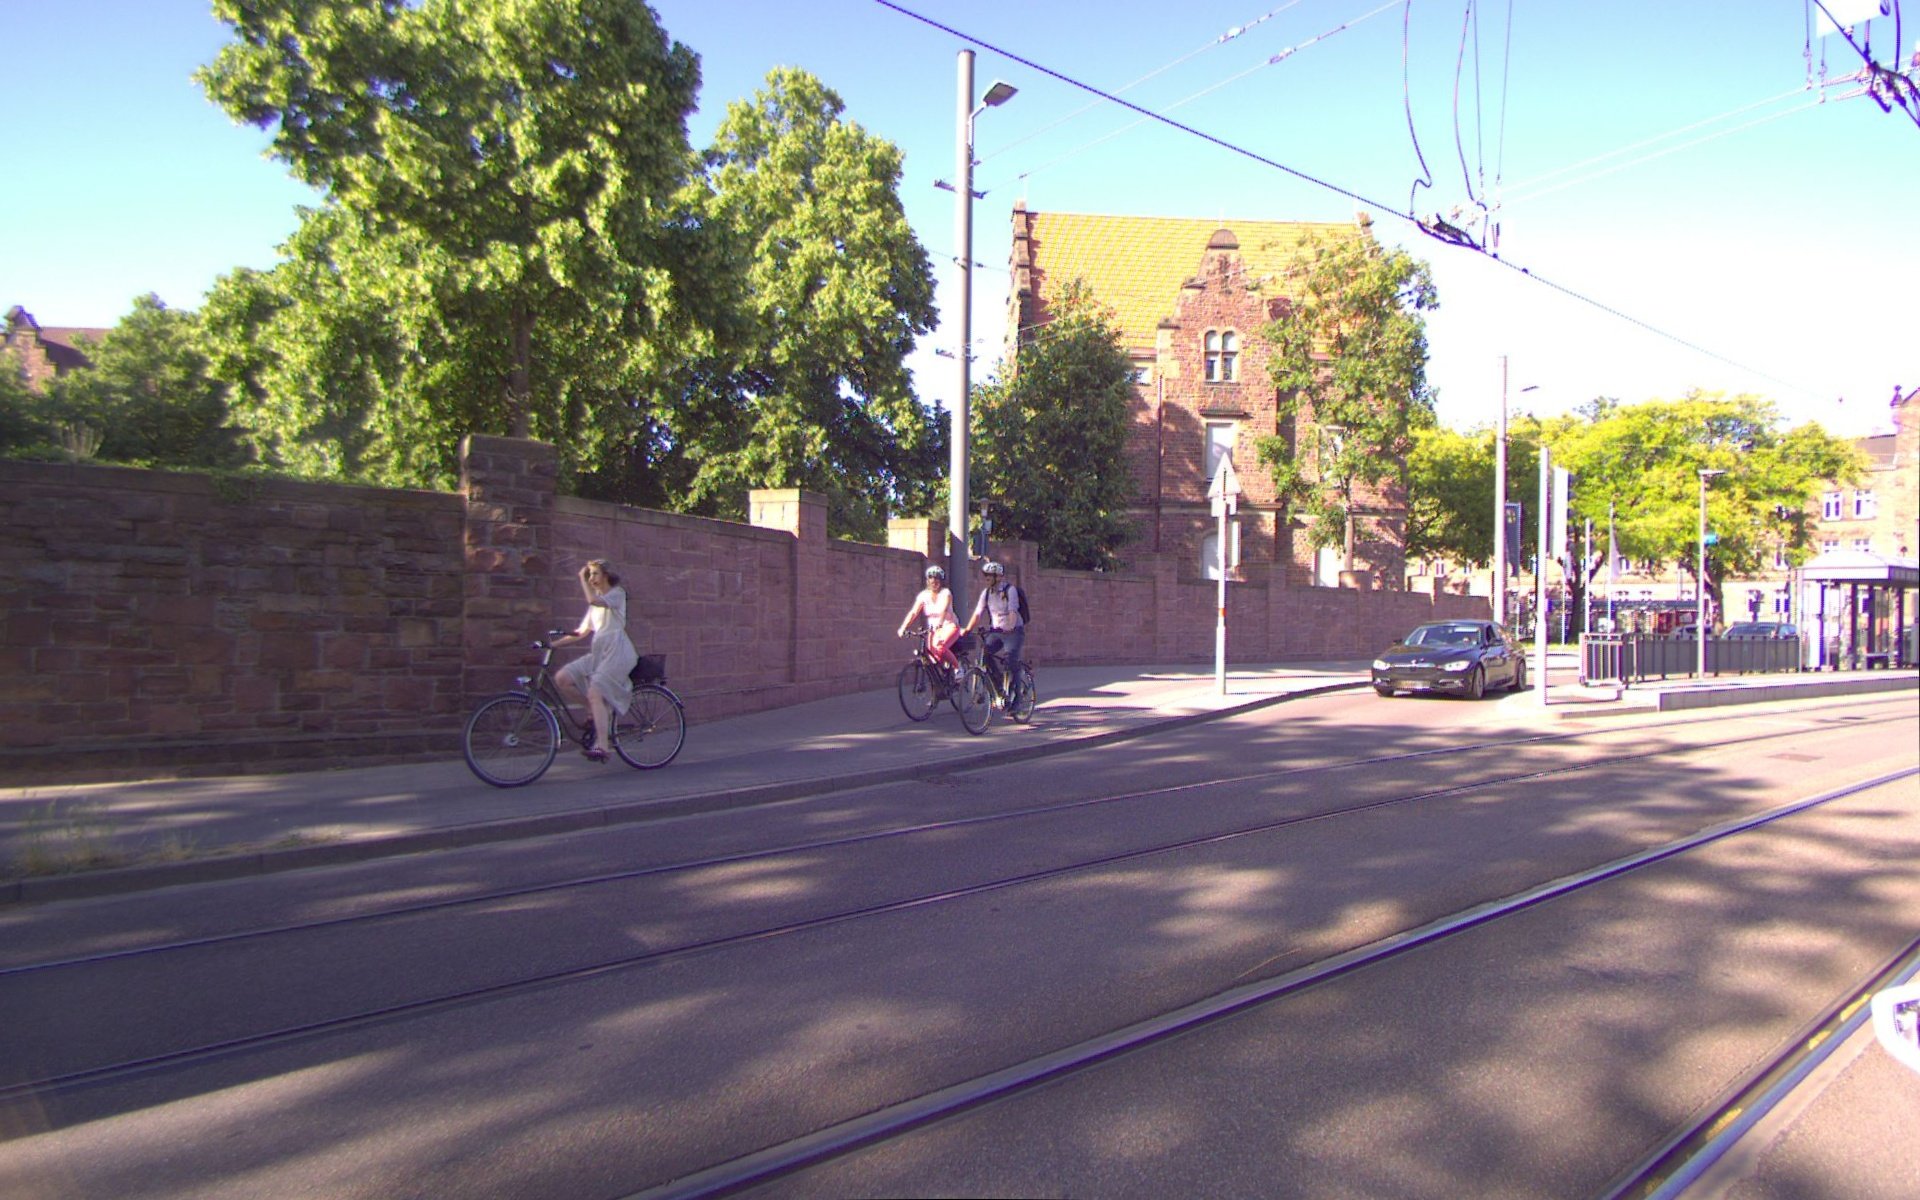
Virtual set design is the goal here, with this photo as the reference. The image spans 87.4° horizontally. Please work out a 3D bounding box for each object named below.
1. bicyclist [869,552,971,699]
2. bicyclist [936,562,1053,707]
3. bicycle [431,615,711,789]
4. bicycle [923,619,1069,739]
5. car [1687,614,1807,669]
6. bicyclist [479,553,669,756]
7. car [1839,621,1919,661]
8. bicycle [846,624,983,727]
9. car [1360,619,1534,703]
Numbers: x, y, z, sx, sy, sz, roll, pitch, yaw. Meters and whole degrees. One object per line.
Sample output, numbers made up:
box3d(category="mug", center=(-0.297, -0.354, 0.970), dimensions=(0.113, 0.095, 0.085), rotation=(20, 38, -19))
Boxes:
box3d(category="bicyclist", center=(-0.470, 0.295, 12.256), dimensions=(0.641, 1.697, 1.230), rotation=(2, 1, 31))
box3d(category="bicyclist", center=(0.421, 0.378, 11.604), dimensions=(0.750, 1.557, 1.345), rotation=(1, 0, 32))
box3d(category="bicycle", center=(-3.090, 0.753, 8.109), dimensions=(1.939, 1.214, 0.807), rotation=(2, 0, -43))
box3d(category="bicycle", center=(0.467, 0.850, 11.647), dimensions=(0.766, 1.247, 2.084), rotation=(1, -1, 31))
box3d(category="car", center=(25.652, 1.350, 32.704), dimensions=(4.282, 1.638, 1.816), rotation=(2, -1, -34))
box3d(category="bicyclist", center=(-3.092, 0.407, 8.097), dimensions=(0.747, 1.490, 1.185), rotation=(2, 0, 40))
box3d(category="car", center=(36.972, 1.656, 40.036), dimensions=(4.281, 1.465, 1.816), rotation=(2, -1, -33))
box3d(category="bicycle", center=(-0.508, 0.866, 12.241), dimensions=(0.659, 1.087, 2.010), rotation=(2, 1, 31))
box3d(category="car", center=(9.371, 1.070, 19.138), dimensions=(1.779, 1.400, 4.469), rotation=(-1, -2, 43))
